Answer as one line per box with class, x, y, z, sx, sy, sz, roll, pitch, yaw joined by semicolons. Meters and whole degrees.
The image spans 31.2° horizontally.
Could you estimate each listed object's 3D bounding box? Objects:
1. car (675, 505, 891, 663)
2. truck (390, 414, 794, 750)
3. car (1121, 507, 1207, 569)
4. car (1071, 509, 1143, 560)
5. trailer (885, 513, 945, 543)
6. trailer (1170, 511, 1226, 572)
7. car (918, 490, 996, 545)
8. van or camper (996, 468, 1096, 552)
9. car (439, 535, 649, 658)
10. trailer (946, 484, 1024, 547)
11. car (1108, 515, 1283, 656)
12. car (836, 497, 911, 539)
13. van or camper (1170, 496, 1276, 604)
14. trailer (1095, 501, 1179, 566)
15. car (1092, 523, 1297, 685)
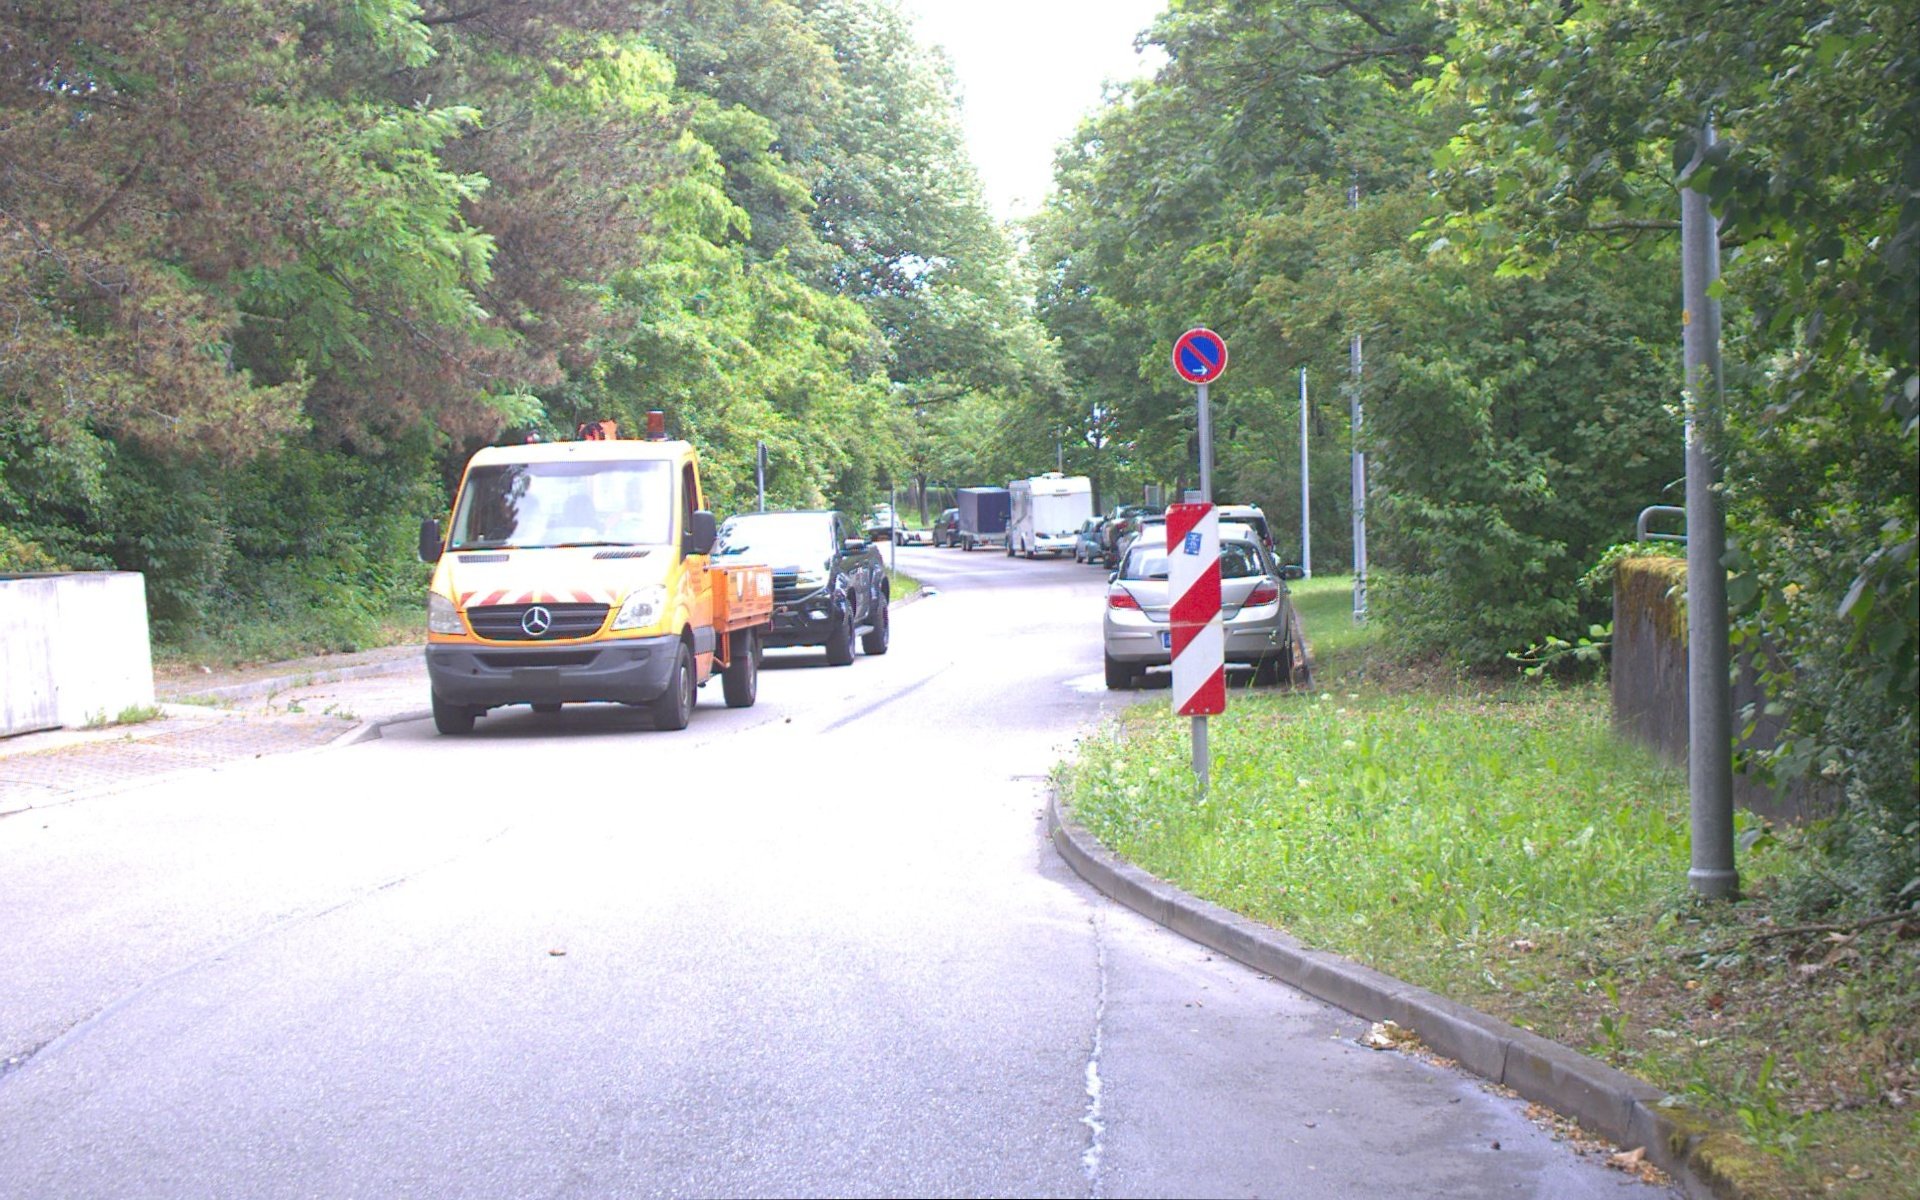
car;-2.027;-0.233;41.049;1.994;1.729;5.336;-1;1;3
truck;-2.872;-0.228;28.444;2.322;2.461;6.020;1;2;4
car;5.788;-1.749;98.140;1.792;1.664;4.502;-2;0;-5
car;4.830;-2.173;113.705;1.799;1.556;3.836;-2;2;-6
trailer;-1.908;-3.031;143.909;1.651;1.083;4.002;-4;3;-13
trailer;6.342;-1.563;91.736;1.278;1.579;2.460;-1;1;0
car;-0.139;-3.382;140.108;1.993;2.018;4.002;-5;4;-16
van or camper;3.055;-3.233;124.003;2.481;2.866;6.891;-2;2;-8
car;-5.068;-0.083;42.433;1.806;1.398;4.371;0;2;4
trailer;0.958;-3.306;134.698;1.993;2.390;4.001;-2;2;-15
car;2.786;-0.221;40.491;1.886;1.501;5.175;-2;1;4
car;-3.870;-3.658;153.020;2.034;1.797;4.084;-3;2;-21
van or camper;4.725;-0.871;62.007;1.802;1.831;4.320;-1;0;4
trailer;5.340;-2.043;104.339;1.979;1.805;5.150;-2;2;-3
car;2.313;-0.007;33.063;1.793;1.406;4.058;-2;1;6
